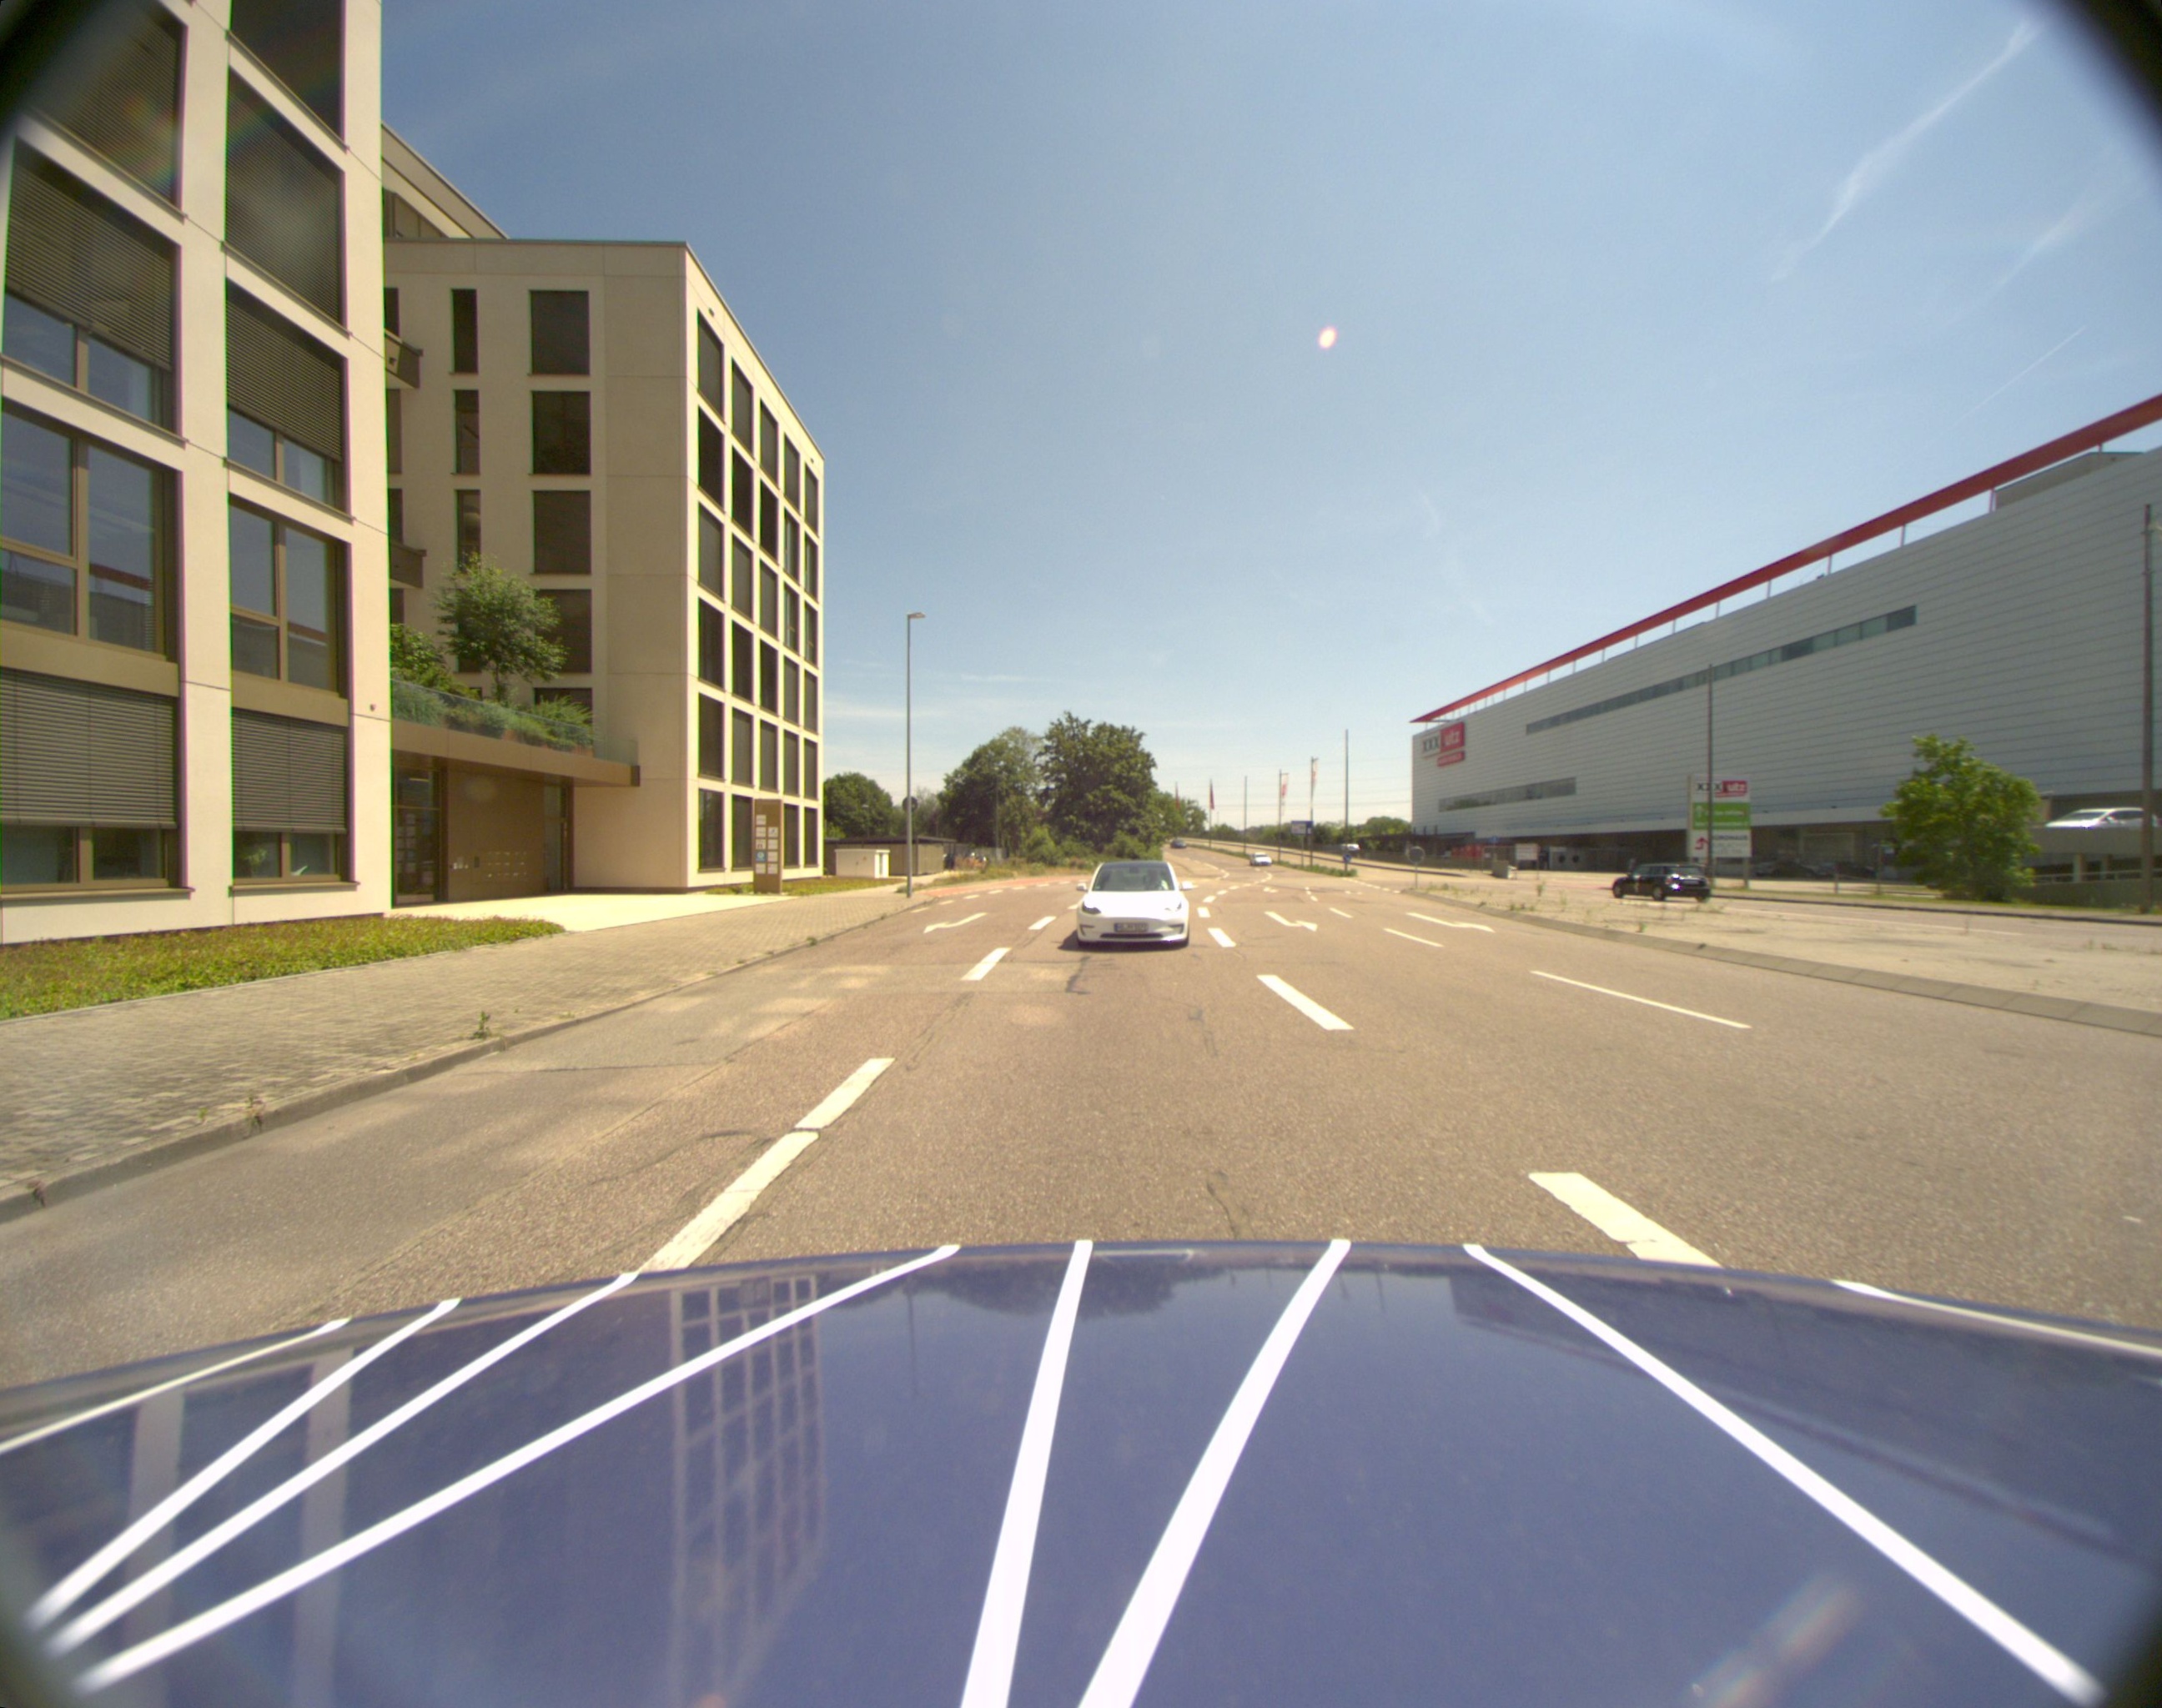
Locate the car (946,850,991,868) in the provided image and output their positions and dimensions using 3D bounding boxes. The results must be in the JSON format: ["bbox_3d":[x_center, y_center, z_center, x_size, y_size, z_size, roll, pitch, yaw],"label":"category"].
[{"bbox_3d":[-10.995,0.481,73.998,4.005,1.652,1.834,0,1,-24],"label":"car"}]

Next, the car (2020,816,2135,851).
[{"bbox_3d":[50.236,-1.018,38.357,3.479,1.686,1.708,0,1,1],"label":"car"}]

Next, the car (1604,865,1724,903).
[{"bbox_3d":[22.254,1.095,29.189,1.859,1.295,3.895,1,0,6],"label":"car"}]

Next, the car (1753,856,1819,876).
[{"bbox_3d":[59.836,0.985,64.528,3.747,1.610,1.911,0,1,0],"label":"car"}]

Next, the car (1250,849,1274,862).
[{"bbox_3d":[20.925,0.170,88.178,1.735,1.441,4.230,0,0,-1],"label":"car"}]

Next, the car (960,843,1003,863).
[{"bbox_3d":[-10.227,-0.088,78.024,4.005,1.941,1.996,0,0,-25],"label":"car"}]

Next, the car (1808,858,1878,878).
[{"bbox_3d":[59.910,1.110,59.785,3.483,1.487,1.959,0,1,1],"label":"car"}]

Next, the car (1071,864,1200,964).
[{"bbox_3d":[0.797,0.930,13.693,1.880,1.417,4.405,-1,0,-2],"label":"car"}]
